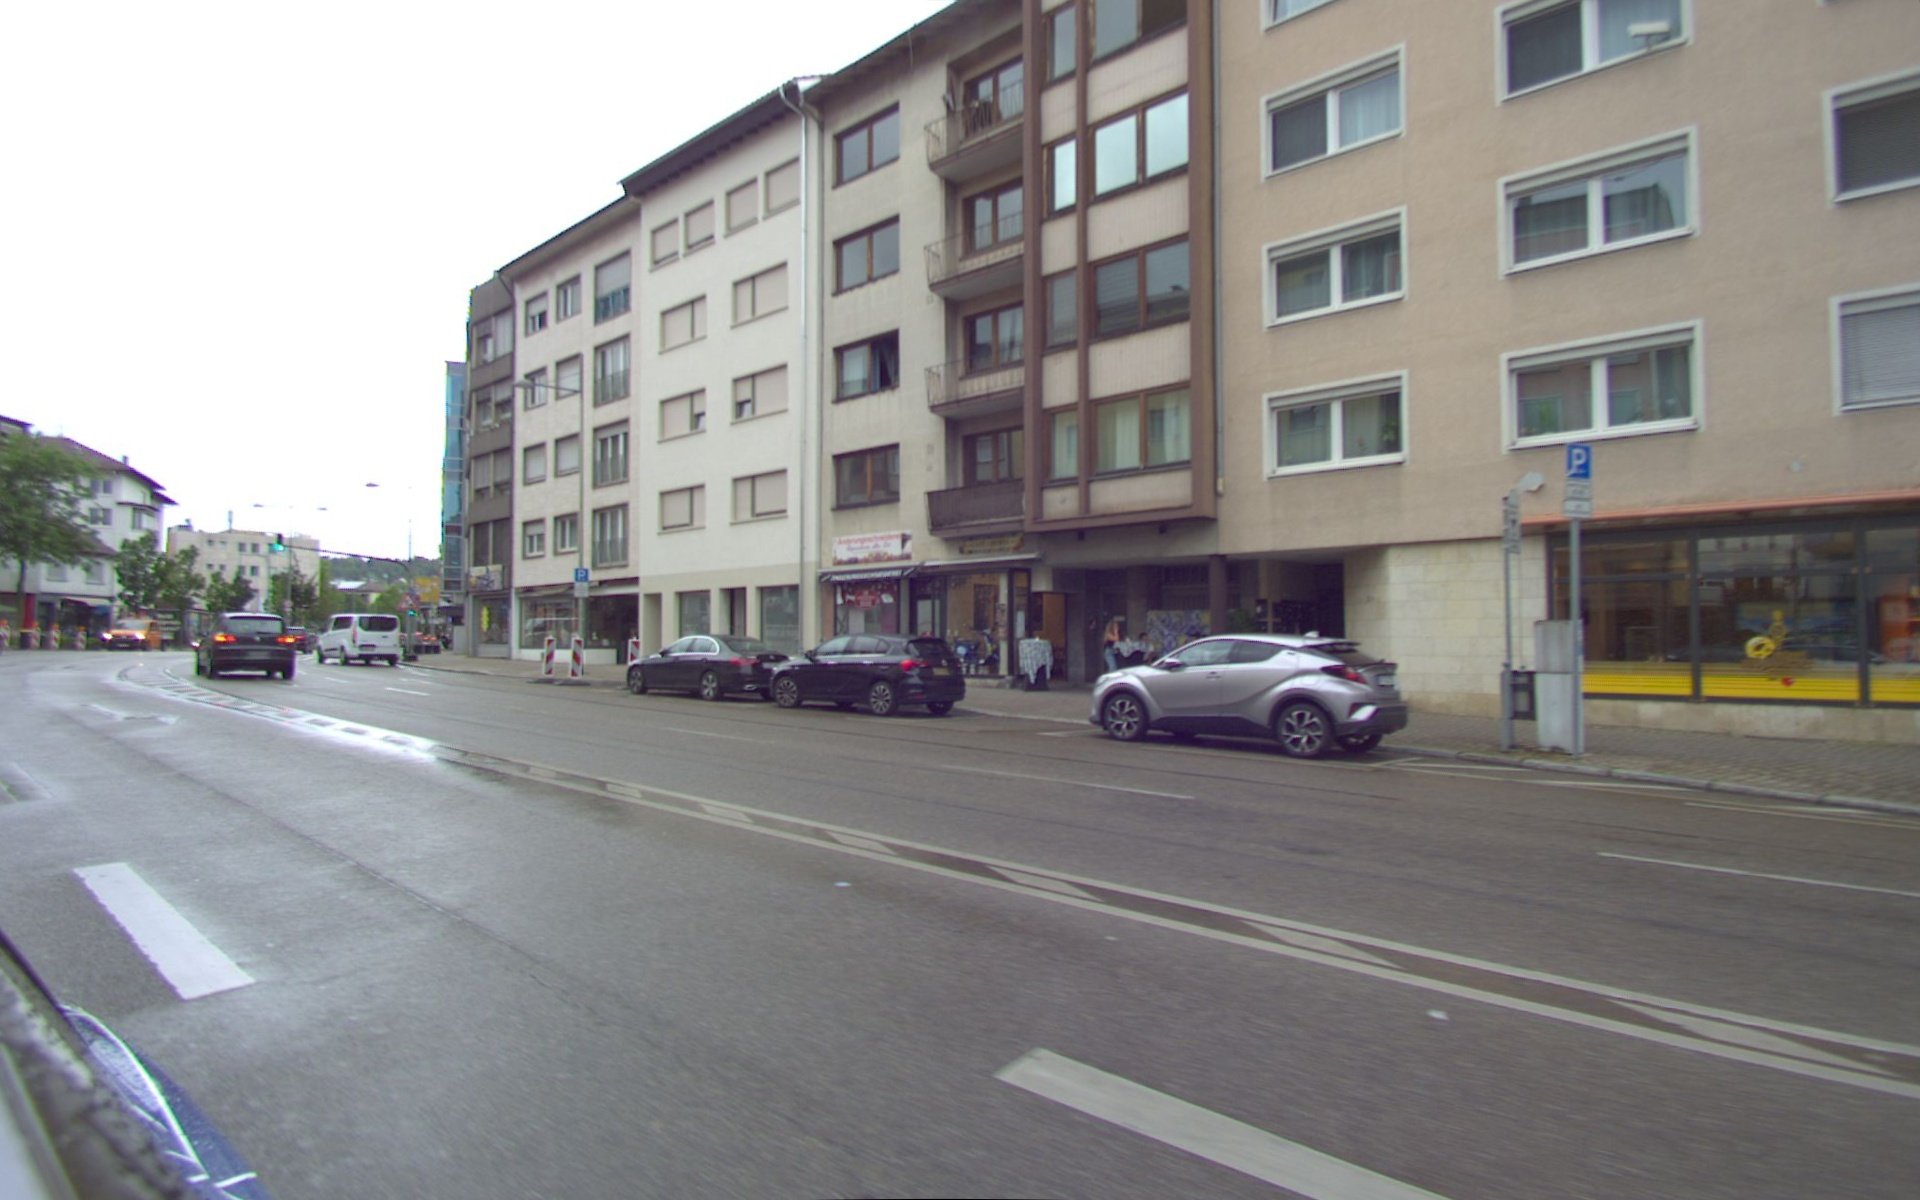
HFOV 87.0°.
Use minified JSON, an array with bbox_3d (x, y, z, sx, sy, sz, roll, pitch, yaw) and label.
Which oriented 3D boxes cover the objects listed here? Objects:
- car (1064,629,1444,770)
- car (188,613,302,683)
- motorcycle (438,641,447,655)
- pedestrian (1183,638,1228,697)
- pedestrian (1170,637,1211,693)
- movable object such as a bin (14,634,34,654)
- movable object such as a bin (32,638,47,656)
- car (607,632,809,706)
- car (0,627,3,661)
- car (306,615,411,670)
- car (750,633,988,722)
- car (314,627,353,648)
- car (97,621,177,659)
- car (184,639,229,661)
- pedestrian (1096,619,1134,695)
[{"bbox_3d":[3.837,1.221,13.787,4.632,1.566,1.886,-1,-3,44],"label":"car"},{"bbox_3d":[-18.656,1.225,26.328,1.840,1.659,4.259,4,-4,-42],"label":"car"},{"bbox_3d":[-44.009,4.071,86.079,0.659,1.096,2.203,-1,-1,-28],"label":"motorcycle"},{"bbox_3d":[4.966,1.357,20.516,0.663,1.157,0.597,1,-2,-20],"label":"pedestrian"},{"bbox_3d":[4.839,1.354,21.272,0.632,1.157,0.601,-1,-2,42],"label":"pedestrian"},{"bbox_3d":[-48.989,2.315,52.979,0.612,1.039,0.533,3,-5,-27],"label":"movable object such as a bin"},{"bbox_3d":[-50.107,2.564,55.071,0.413,0.937,0.533,3,-5,-27],"label":"movable object such as a bin"},{"bbox_3d":[-5.825,1.502,23.041,4.975,1.488,1.863,-1,-4,40],"label":"car"},{"bbox_3d":[-38.830,1.633,38.944,1.782,1.350,4.291,2,-5,-28],"label":"car"},{"bbox_3d":[-24.447,1.667,41.075,5.125,2.029,2.097,-1,0,40],"label":"car"},{"bbox_3d":[-1.835,1.410,19.536,4.514,1.488,1.973,-1,-3,40],"label":"car"},{"bbox_3d":[-46.905,2.802,75.849,1.955,1.470,4.500,3,-4,-26],"label":"car"},{"bbox_3d":[-48.873,2.329,60.254,2.162,2.102,5.953,0,-2,-24],"label":"car"},{"bbox_3d":[-55.833,3.665,75.063,1.812,1.453,4.013,-1,-1,-24],"label":"car"},{"bbox_3d":[3.322,1.203,21.631,0.666,1.595,0.539,-1,-2,29],"label":"pedestrian"}]
